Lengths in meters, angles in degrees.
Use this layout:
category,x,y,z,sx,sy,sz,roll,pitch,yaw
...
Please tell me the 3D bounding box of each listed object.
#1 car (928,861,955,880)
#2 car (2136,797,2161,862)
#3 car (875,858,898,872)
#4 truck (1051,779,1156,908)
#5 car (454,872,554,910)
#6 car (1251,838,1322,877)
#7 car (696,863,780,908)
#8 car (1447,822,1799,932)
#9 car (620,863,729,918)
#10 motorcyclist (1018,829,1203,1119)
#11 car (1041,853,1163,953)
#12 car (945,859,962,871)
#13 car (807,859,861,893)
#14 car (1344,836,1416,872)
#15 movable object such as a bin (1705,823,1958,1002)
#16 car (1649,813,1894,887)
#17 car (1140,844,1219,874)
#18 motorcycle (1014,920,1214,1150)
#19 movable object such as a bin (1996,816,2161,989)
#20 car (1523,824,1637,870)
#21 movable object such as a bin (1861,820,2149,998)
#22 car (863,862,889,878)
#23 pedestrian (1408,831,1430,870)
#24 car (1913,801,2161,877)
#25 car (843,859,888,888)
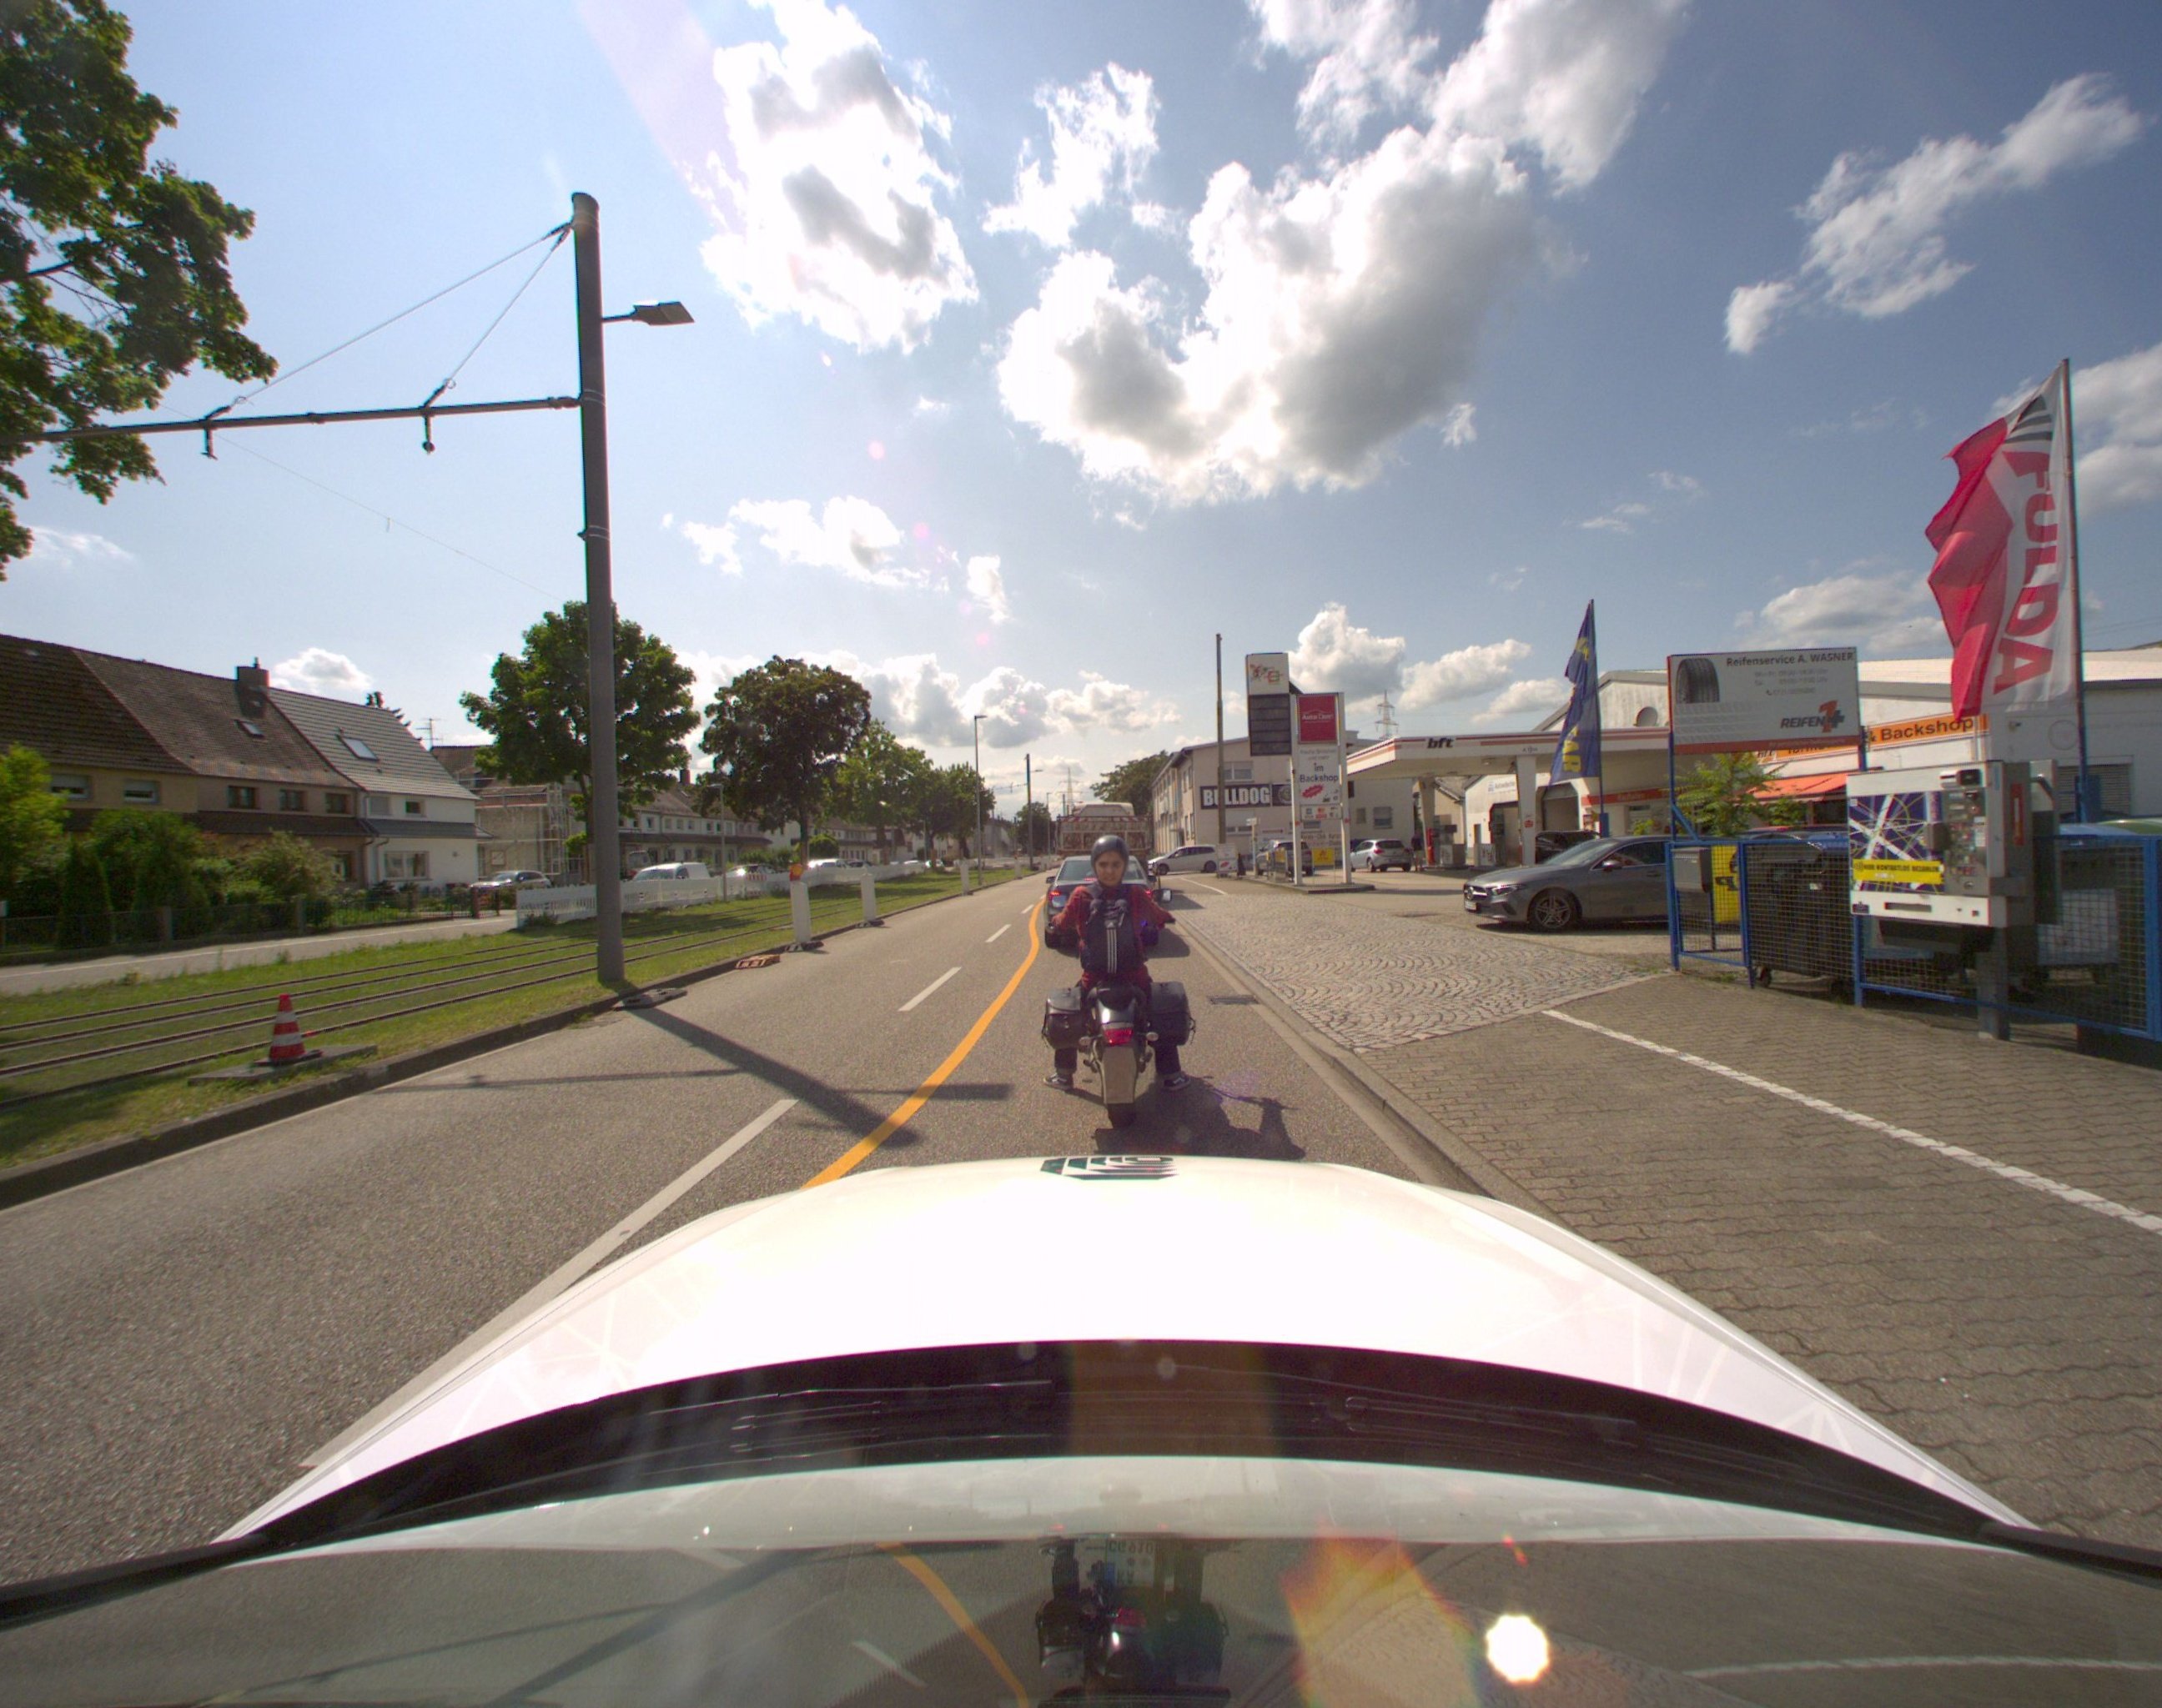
category,x,y,z,sx,sy,sz,roll,pitch,yaw
car,-13.723,1.631,80.461,1.769,1.722,4.130,-2,0,2
car,26.530,-0.639,18.007,4.180,1.463,1.587,-2,0,2
car,-25.154,1.401,105.210,1.769,1.722,4.130,-2,0,2
truck,0.731,-0.287,25.506,2.628,3.296,8.059,-2,0,2
car,-27.433,1.730,38.901,1.769,1.519,4.002,-2,0,2
car,9.120,0.150,36.459,1.665,1.562,4.235,-2,0,-6
car,-15.404,1.375,36.806,1.769,1.774,4.230,-2,0,2
car,8.185,0.338,12.629,4.252,1.415,1.676,-2,0,5
car,-15.426,1.318,31.162,1.769,1.821,4.366,-2,0,2
motorcyclist,0.183,0.678,5.147,0.975,1.602,1.088,-2,0,1
car,0.375,0.731,14.148,1.816,1.452,4.002,0,0,2
car,-19.627,1.633,125.924,1.769,1.722,4.130,-2,0,2
car,-15.059,1.329,49.868,1.769,1.867,4.130,-2,0,2
car,13.481,-0.010,36.925,1.800,1.503,3.832,-2,0,-1
movable object such as a bin,6.693,0.479,7.365,1.104,1.436,1.244,-2,0,1
car,15.778,-0.089,18.763,4.180,1.463,1.587,-2,0,2
car,5.672,0.291,47.058,4.225,1.543,1.669,-2,0,-7
motorcycle,0.208,1.027,5.451,0.975,0.897,2.654,-2,0,2
movable object such as a bin,9.490,0.375,7.136,1.397,1.396,1.338,-2,0,1
car,18.123,-0.249,29.790,1.800,1.503,3.833,-2,0,0
movable object such as a bin,8.087,0.445,7.224,1.104,1.396,1.244,-2,0,1
car,-24.383,1.839,97.049,1.769,1.722,4.130,-2,0,2
pedestrian,14.656,-0.133,35.324,0.701,1.656,0.551,-2,0,37
car,21.526,-0.342,18.171,4.180,1.463,1.587,-2,0,2
car,-14.799,1.337,56.045,1.769,1.805,4.130,-2,0,2
